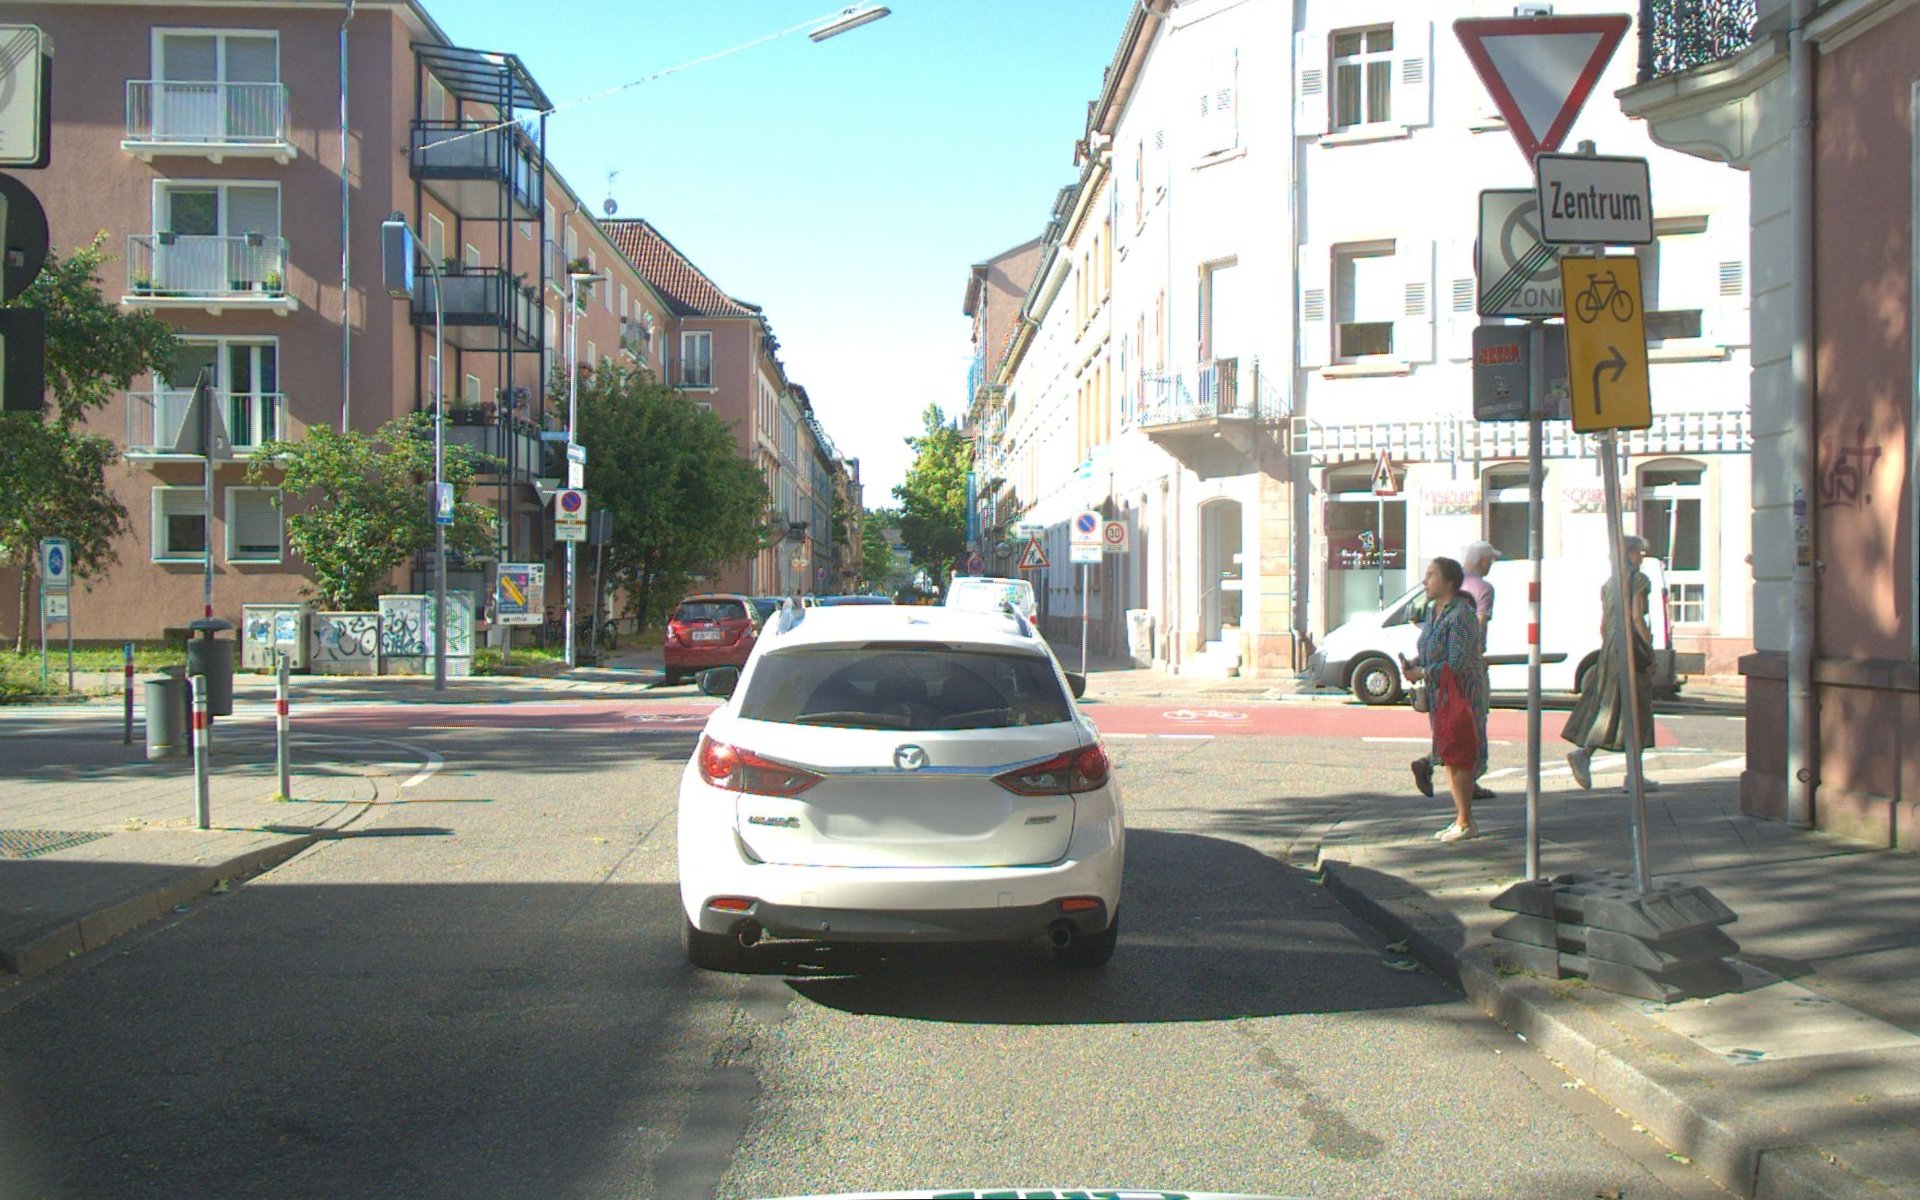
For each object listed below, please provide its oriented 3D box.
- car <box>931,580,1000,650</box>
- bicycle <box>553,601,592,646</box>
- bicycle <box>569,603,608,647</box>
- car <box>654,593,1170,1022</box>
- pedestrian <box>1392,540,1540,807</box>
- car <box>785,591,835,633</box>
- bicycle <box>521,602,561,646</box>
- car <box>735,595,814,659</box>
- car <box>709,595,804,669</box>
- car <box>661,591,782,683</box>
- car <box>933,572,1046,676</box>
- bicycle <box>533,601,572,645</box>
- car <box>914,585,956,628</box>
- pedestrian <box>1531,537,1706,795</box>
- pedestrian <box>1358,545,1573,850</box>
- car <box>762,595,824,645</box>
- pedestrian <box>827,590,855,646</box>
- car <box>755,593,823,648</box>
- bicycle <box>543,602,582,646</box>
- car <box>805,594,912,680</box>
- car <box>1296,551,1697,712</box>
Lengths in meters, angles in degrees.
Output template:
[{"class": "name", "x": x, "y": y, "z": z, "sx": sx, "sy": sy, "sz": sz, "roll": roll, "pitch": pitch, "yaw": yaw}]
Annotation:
[{"class": "car", "x": 0.119, "y": 0.398, "z": 46.325, "sx": 1.856, "sy": 1.892, "sz": 3.994, "roll": 0, "pitch": 0, "yaw": -1}, {"class": "bicycle", "x": -9.718, "y": 0.581, "z": 41.467, "sx": 1.193, "sy": 1.090, "sz": 0.252, "roll": 0, "pitch": 0, "yaw": 38}, {"class": "bicycle", "x": -9.357, "y": 0.615, "z": 41.618, "sx": 1.196, "sy": 1.090, "sz": 0.252, "roll": 0, "pitch": 0, "yaw": 38}, {"class": "car", "x": -0.197, "y": 0.712, "z": 7.736, "sx": 1.794, "sy": 1.482, "sz": 3.961, "roll": 0, "pitch": 0, "yaw": -1}, {"class": "pedestrian", "x": 3.553, "y": 0.504, "z": 11.668, "sx": 0.734, "sy": 1.795, "sz": 0.830, "roll": -1, "pitch": -1, "yaw": -1}, {"class": "car", "x": -5.637, "y": 0.438, "z": 62.430, "sx": 1.620, "sy": 1.526, "sz": 3.762, "roll": 0, "pitch": 0, "yaw": -1}, {"class": "bicycle", "x": -10.300, "y": 0.580, "z": 40.659, "sx": 1.193, "sy": 1.053, "sz": 0.290, "roll": 0, "pitch": 0, "yaw": 38}, {"class": "car", "x": -4.611, "y": 0.640, "z": 41.455, "sx": 1.620, "sy": 1.526, "sz": 3.762, "roll": 0, "pitch": 0, "yaw": -1}, {"class": "car", "x": -4.381, "y": 0.652, "z": 36.104, "sx": 1.620, "sy": 1.526, "sz": 4.079, "roll": 0, "pitch": 0, "yaw": -1}, {"class": "car", "x": -4.274, "y": 0.623, "z": 30.124, "sx": 1.650, "sy": 1.526, "sz": 3.806, "roll": -2, "pitch": 0, "yaw": -1}, {"class": "car", "x": 0.526, "y": 0.445, "z": 33.876, "sx": 1.857, "sy": 1.891, "sz": 5.010, "roll": 2, "pitch": 0, "yaw": -4}, {"class": "bicycle", "x": -10.099, "y": 0.566, "z": 40.953, "sx": 1.193, "sy": 1.091, "sz": 0.265, "roll": 0, "pitch": 0, "yaw": 38}, {"class": "car", "x": -1.154, "y": 0.264, "z": 75.068, "sx": 1.856, "sy": 1.892, "sz": 3.994, "roll": 0, "pitch": 0, "yaw": -1}, {"class": "pedestrian", "x": 4.594, "y": 0.462, "z": 11.587, "sx": 0.819, "sy": 1.696, "sz": 0.626, "roll": -4, "pitch": -3, "yaw": -1}, {"class": "pedestrian", "x": 2.883, "y": 0.538, "z": 9.519, "sx": 0.827, "sy": 1.600, "sz": 0.846, "roll": -5, "pitch": -1, "yaw": -1}, {"class": "car", "x": -5.240, "y": 0.606, "z": 52.261, "sx": 1.620, "sy": 1.526, "sz": 3.762, "roll": 0, "pitch": 0, "yaw": -1}, {"class": "pedestrian", "x": -3.537, "y": 0.531, "z": 49.106, "sx": 0.720, "sy": 1.642, "sz": 0.813, "roll": -1, "pitch": 0, "yaw": -14}, {"class": "car", "x": -4.912, "y": 0.562, "z": 47.816, "sx": 1.620, "sy": 1.526, "sz": 3.762, "roll": 0, "pitch": 0, "yaw": -1}, {"class": "bicycle", "x": -9.906, "y": 0.587, "z": 41.218, "sx": 1.193, "sy": 1.089, "sz": 0.252, "roll": 0, "pitch": 0, "yaw": 38}, {"class": "car", "x": -1.761, "y": 0.612, "z": 29.807, "sx": 1.725, "sy": 1.434, "sz": 4.327, "roll": 0, "pitch": 0, "yaw": -1}, {"class": "car", "x": 7.136, "y": 0.385, "z": 22.170, "sx": 4.906, "sy": 1.980, "sz": 2.051, "roll": 0, "pitch": 0, "yaw": 21}]
